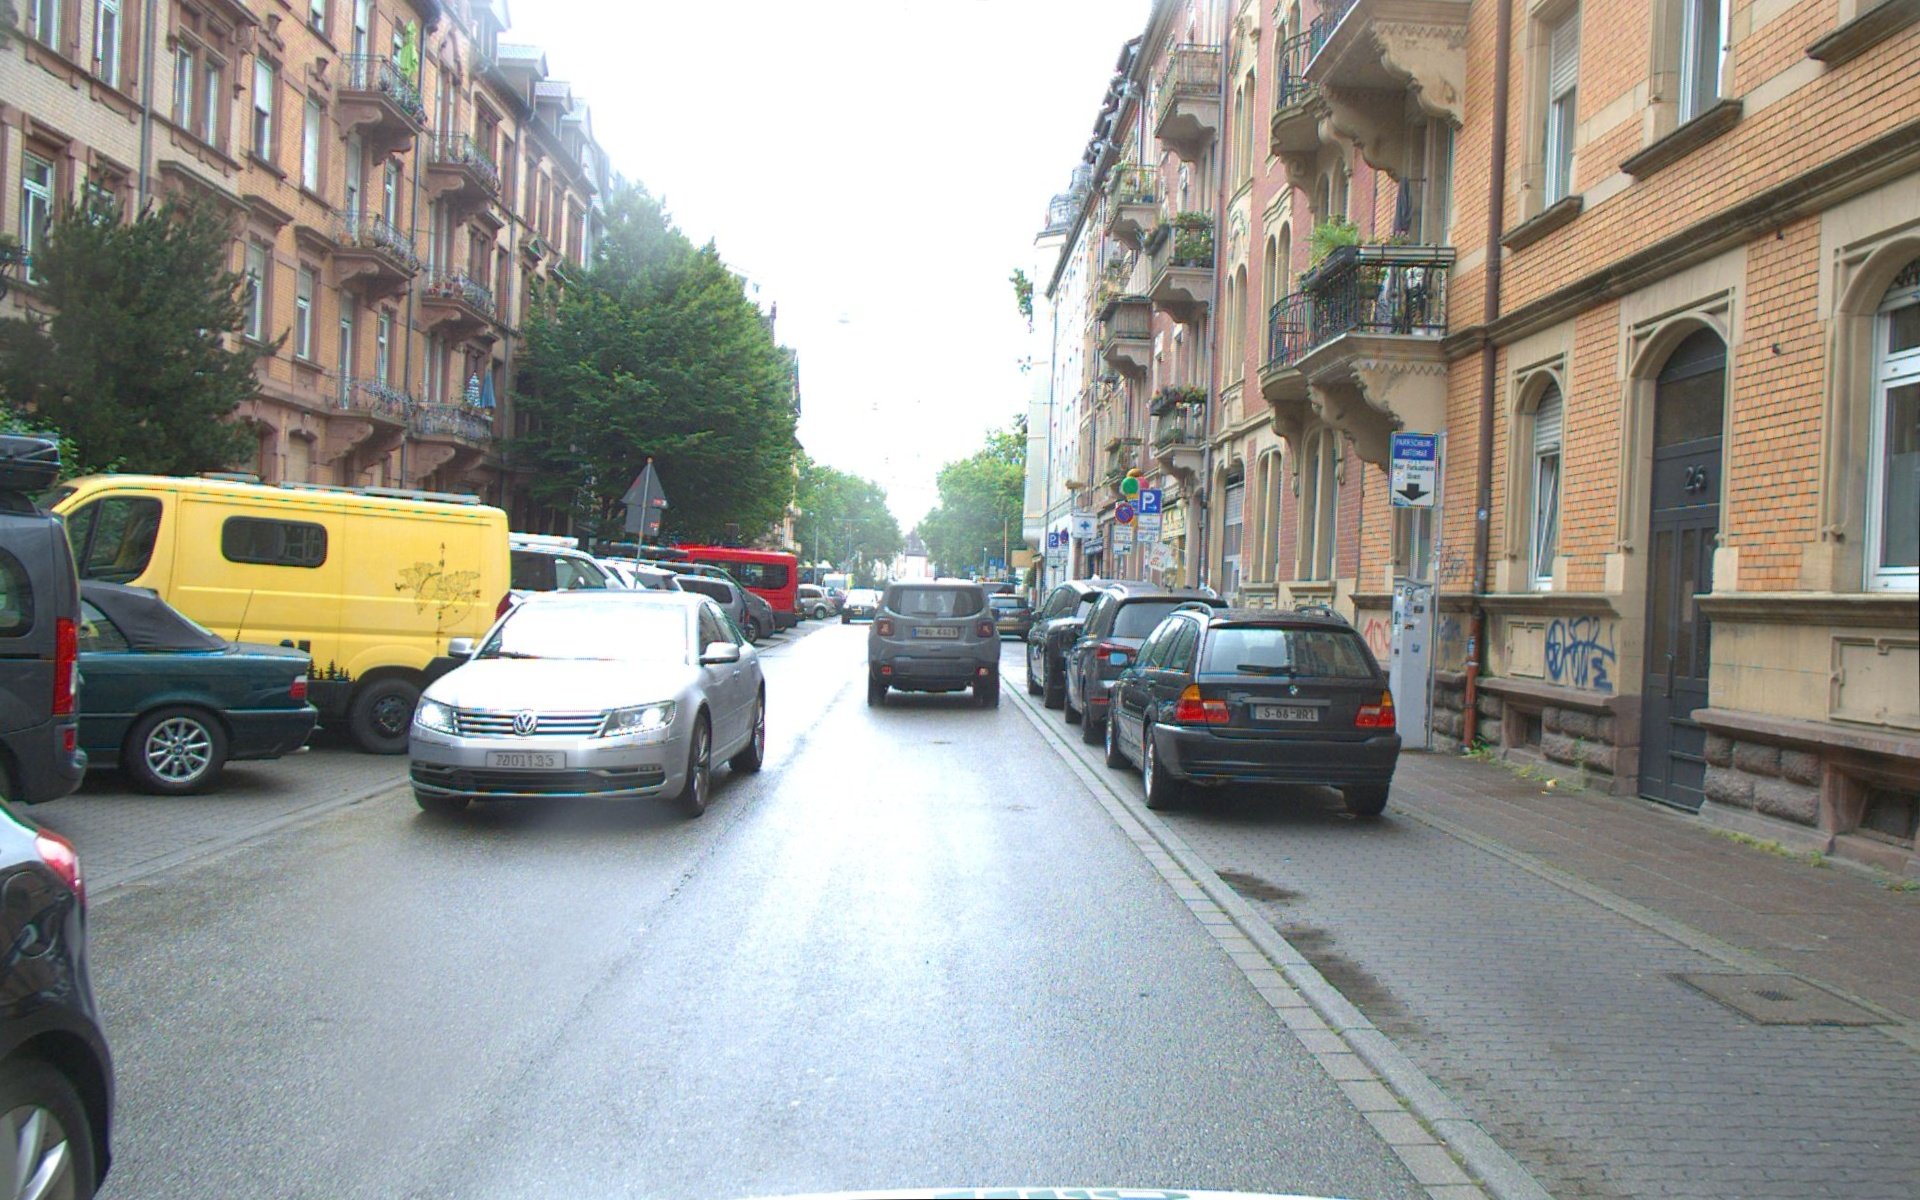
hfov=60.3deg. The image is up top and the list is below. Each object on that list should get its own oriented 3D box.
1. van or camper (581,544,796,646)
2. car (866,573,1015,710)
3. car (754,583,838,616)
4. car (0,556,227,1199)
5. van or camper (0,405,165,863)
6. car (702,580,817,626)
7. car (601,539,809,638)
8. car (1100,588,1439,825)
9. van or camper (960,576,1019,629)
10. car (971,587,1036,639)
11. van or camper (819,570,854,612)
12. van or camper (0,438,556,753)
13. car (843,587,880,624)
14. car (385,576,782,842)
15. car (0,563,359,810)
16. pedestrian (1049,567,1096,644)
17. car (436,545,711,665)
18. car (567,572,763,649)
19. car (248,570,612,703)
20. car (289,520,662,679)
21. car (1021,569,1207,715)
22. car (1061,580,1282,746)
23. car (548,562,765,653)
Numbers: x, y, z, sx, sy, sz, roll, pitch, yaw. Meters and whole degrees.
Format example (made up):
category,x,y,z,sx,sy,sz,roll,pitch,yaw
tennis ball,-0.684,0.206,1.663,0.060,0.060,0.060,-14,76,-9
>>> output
category,x,y,z,sx,sy,sz,roll,pitch,yaw
van or camper,-6.994,-0.121,42.704,4.951,2.390,2.324,2,0,-28
car,-0.339,0.524,23.342,1.861,1.700,4.503,1,0,-2
car,-7.809,-0.022,78.716,3.674,1.477,1.664,1,0,-37
car,-2.420,0.651,1.495,1.759,1.520,4.136,0,-2,-2
van or camper,-6.414,0.053,8.281,4.035,2.278,1.914,5,-2,-34
car,-7.490,0.120,61.921,3.944,1.472,1.741,4,0,-42
car,-7.366,-0.328,47.971,5.494,2.585,2.208,2,0,-29
car,2.214,0.712,13.047,1.750,1.492,4.483,2,0,-1
van or camper,1.084,0.067,62.922,1.981,1.924,5.053,1,0,-2
car,1.372,0.391,53.489,1.804,1.572,4.001,1,0,-2
van or camper,-8.577,-0.587,115.366,2.078,2.575,6.871,-2,-2,-2
van or camper,-6.185,0.013,14.304,4.670,2.307,2.160,4,0,-34
car,-4.549,0.239,76.194,1.636,1.586,4.000,2,0,-4
car,-2.478,0.611,12.097,1.758,1.520,4.584,1,1,1
car,-6.274,0.516,11.073,3.951,1.521,1.806,0,1,-34
pedestrian,3.121,0.158,45.861,0.667,1.964,0.809,0,-21,33
car,-7.138,0.084,31.048,4.488,1.816,2.544,5,0,-2
car,-7.081,0.248,39.729,4.286,1.530,1.742,4,0,-24
car,-6.460,0.454,20.245,3.945,1.461,1.766,2,0,-30
car,-7.343,0.033,25.192,5.172,2.114,1.855,3,-1,-26
car,2.045,0.524,23.400,1.953,1.810,4.824,1,0,-2
car,2.192,0.596,18.275,1.833,1.589,4.344,1,0,-1
car,-6.824,0.177,37.284,4.380,1.658,1.828,5,0,-28
